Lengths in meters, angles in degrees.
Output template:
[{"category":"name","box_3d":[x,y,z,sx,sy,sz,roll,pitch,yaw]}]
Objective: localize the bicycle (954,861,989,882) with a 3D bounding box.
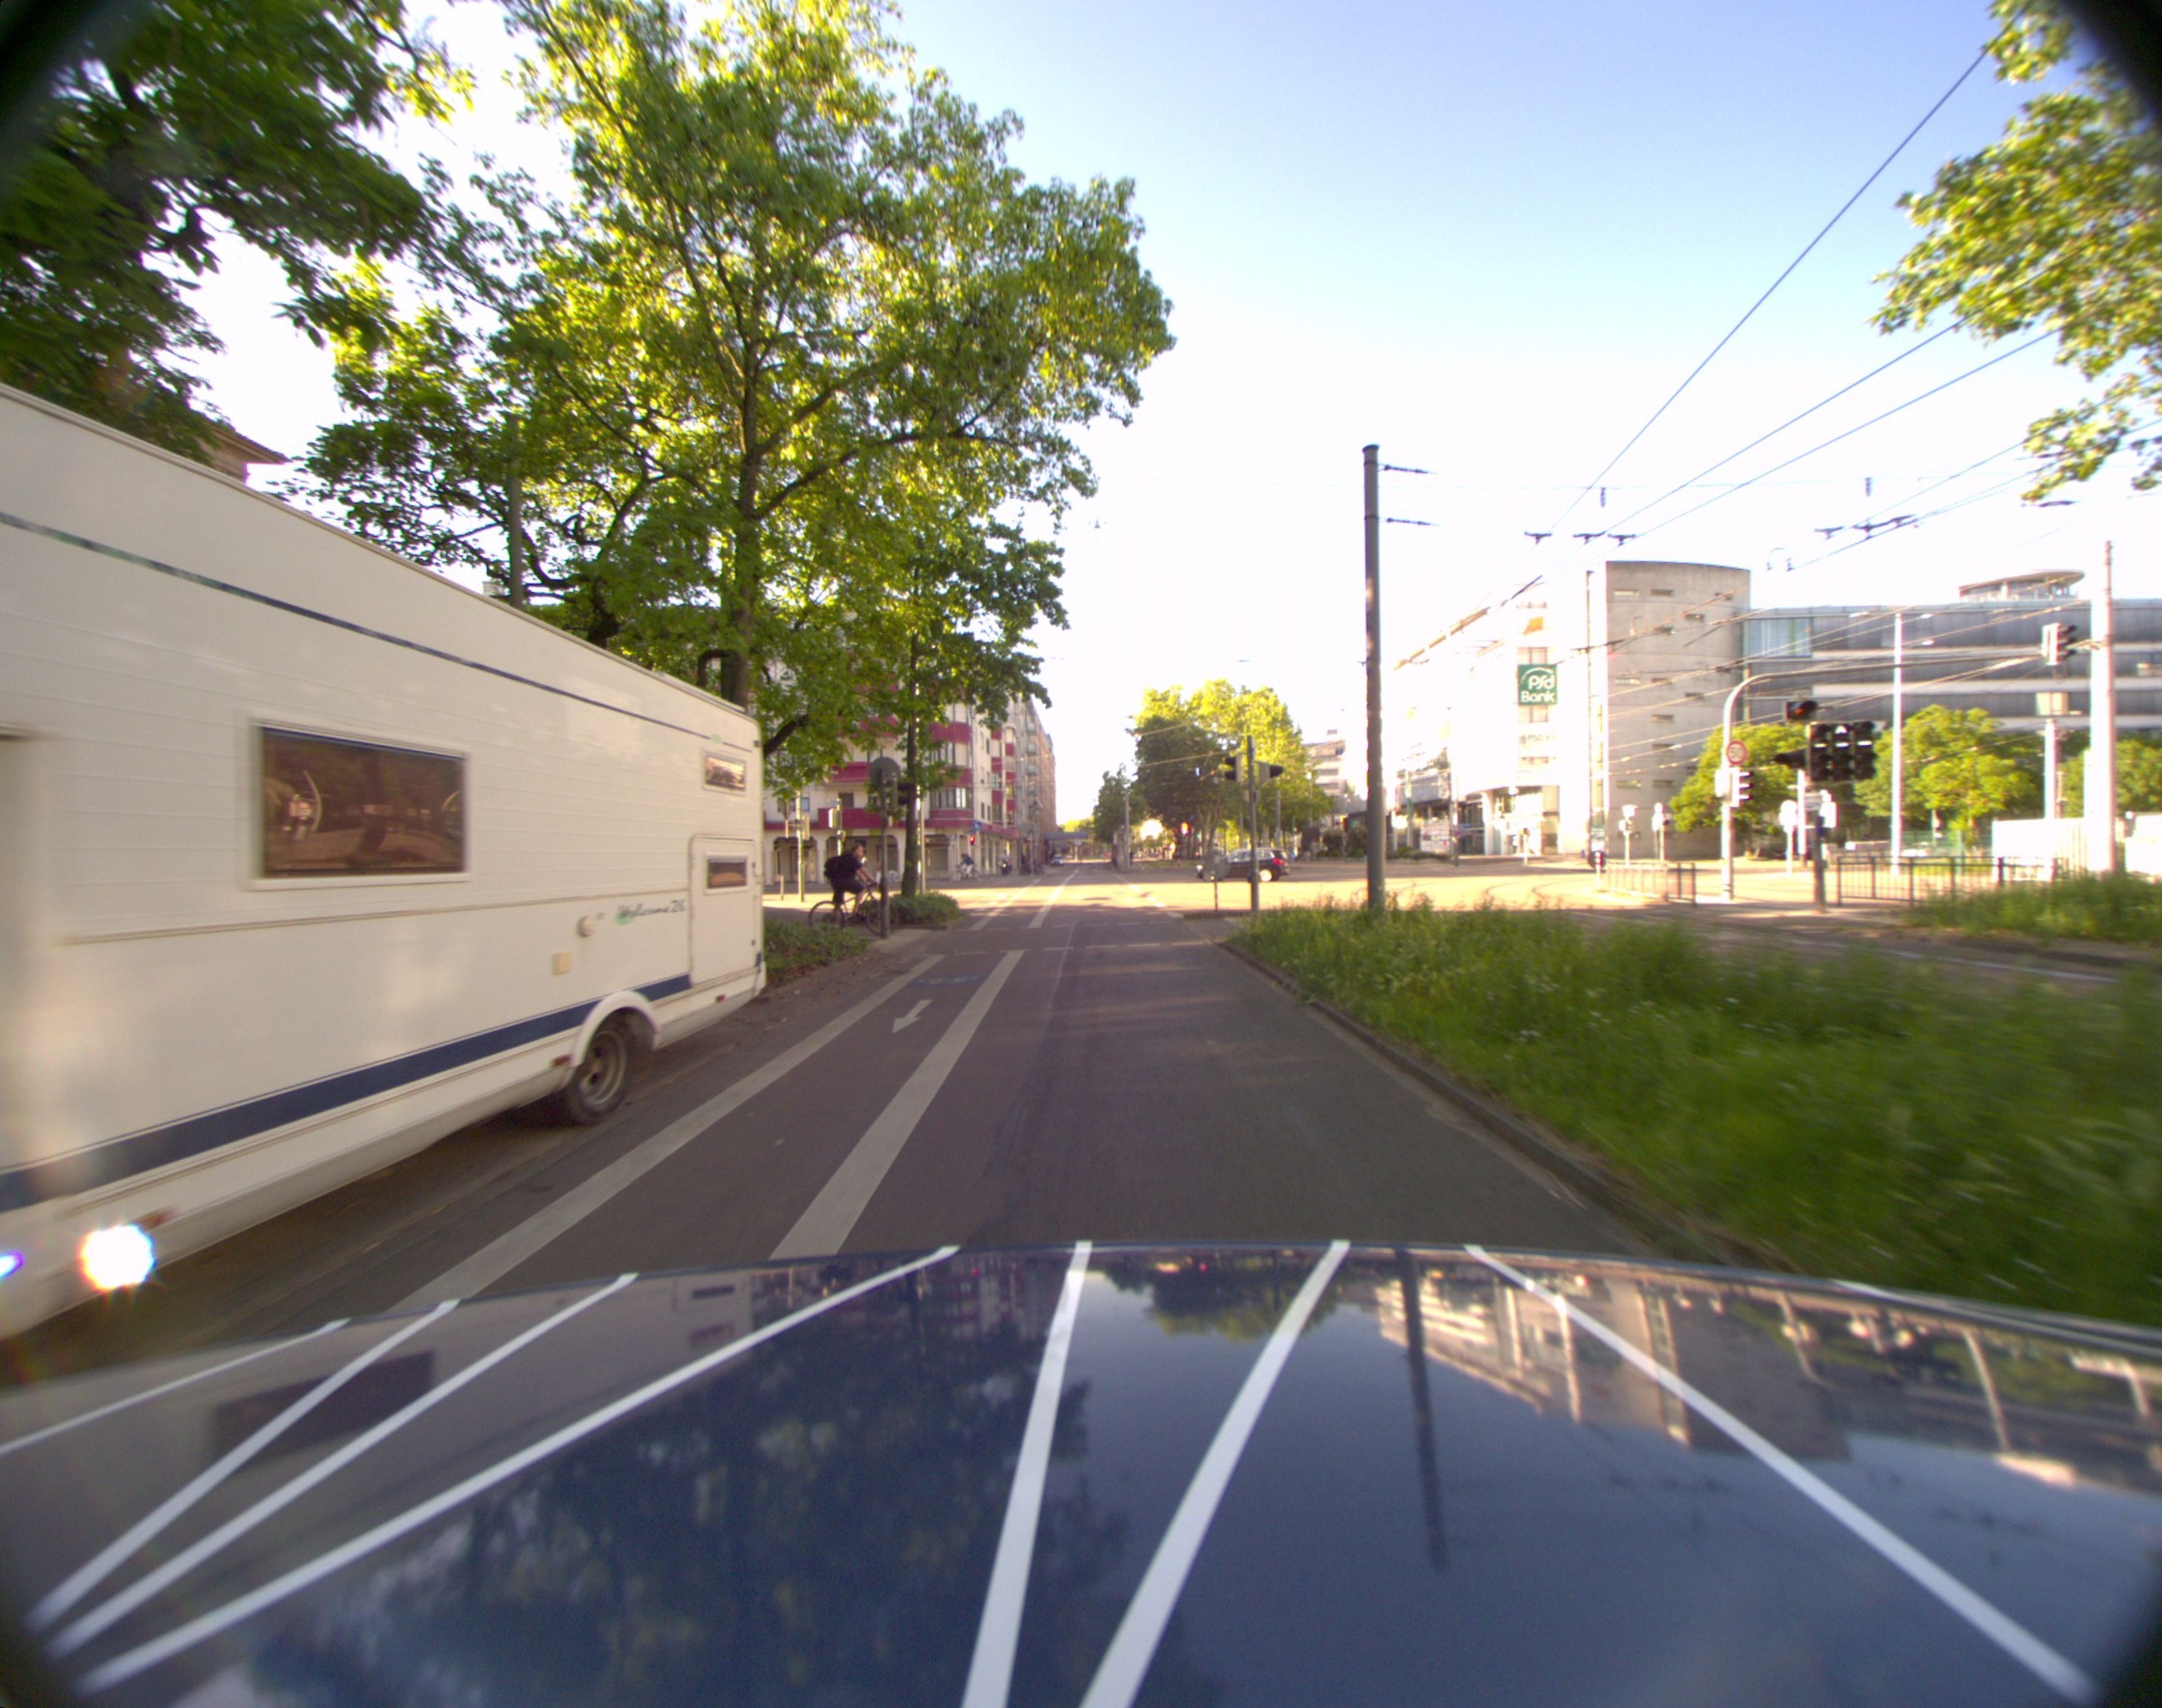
[{"category":"bicycle","box_3d":[-6.644,1.079,46.109,2.044,1.182,0.590,-2,1,-15]}]

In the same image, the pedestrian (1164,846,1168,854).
[{"category":"pedestrian","box_3d":[18.320,-0.893,163.488,0.656,1.744,0.676,-2,1,-6]}]

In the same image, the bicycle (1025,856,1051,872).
[{"category":"bicycle","box_3d":[-3.381,0.786,59.823,1.982,1.192,0.591,-1,1,-3]}]

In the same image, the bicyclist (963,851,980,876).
[{"category":"bicyclist","box_3d":[-6.669,0.566,46.097,0.882,1.485,0.722,-2,1,-15]}]

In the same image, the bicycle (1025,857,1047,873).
[{"category":"bicycle","box_3d":[-3.434,0.832,58.382,1.626,1.192,0.496,-1,1,6]}]

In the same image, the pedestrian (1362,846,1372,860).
[{"category":"pedestrian","box_3d":[32.151,-0.151,85.393,0.908,1.583,0.767,-1,1,1]}]

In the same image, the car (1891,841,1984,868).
[{"category":"car","box_3d":[55.923,0.014,49.647,3.969,1.687,2.107,-1,0,-5]}]

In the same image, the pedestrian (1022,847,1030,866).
[{"category":"pedestrian","box_3d":[-5.570,0.226,76.777,0.724,1.847,0.801,-1,1,1]}]

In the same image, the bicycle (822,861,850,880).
[{"category":"bicycle","box_3d":[-15.616,1.044,48.338,1.793,1.192,0.617,0,1,29]}]

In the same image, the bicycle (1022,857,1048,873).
[{"category":"bicycle","box_3d":[-3.487,0.846,57.636,1.805,1.193,0.546,-1,2,6]}]

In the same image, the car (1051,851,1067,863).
[{"category":"car","box_3d":[-2.986,0.449,105.163,1.837,1.613,4.285,1,0,2]}]

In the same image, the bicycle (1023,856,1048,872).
[{"category":"bicycle","box_3d":[-3.621,0.794,60.459,1.945,1.163,0.572,-1,1,-1]}]

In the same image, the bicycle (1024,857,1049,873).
[{"category":"bicycle","box_3d":[-3.465,0.836,58.955,1.835,1.214,0.496,-1,1,5]}]

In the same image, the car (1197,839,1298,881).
[{"category":"car","box_3d":[8.123,0.294,37.174,4.412,1.936,2.004,-1,0,31]}]

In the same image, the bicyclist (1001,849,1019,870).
[{"category":"bicyclist","box_3d":[-5.282,0.389,56.660,1.061,1.531,1.077,-1,1,-21]}]

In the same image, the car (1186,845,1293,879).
[{"category":"car","box_3d":[7.769,0.401,37.342,4.742,1.607,2.004,-1,0,30]}]

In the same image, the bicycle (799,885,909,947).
[{"category":"bicycle","box_3d":[-4.390,1.173,14.715,1.953,1.064,0.640,-1,1,-23]}]

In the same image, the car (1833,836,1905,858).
[{"category":"car","box_3d":[62.590,-0.566,60.393,3.950,1.644,1.735,-1,1,0]}]

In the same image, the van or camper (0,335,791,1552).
[{"category":"van or camper","box_3d":[-3.934,0.213,3.253,2.381,3.107,7.550,1,0,0]}]

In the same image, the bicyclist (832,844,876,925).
[{"category":"bicyclist","box_3d":[-4.395,0.574,14.704,0.703,1.501,0.750,-2,1,-23]}]

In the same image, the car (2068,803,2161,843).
[{"category":"car","box_3d":[68.464,-2.005,49.969,4.398,2.491,2.182,-1,1,-1]}]

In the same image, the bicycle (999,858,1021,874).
[{"category":"bicycle","box_3d":[-5.288,0.869,56.696,0.964,1.176,2.593,-1,0,-21]}]
